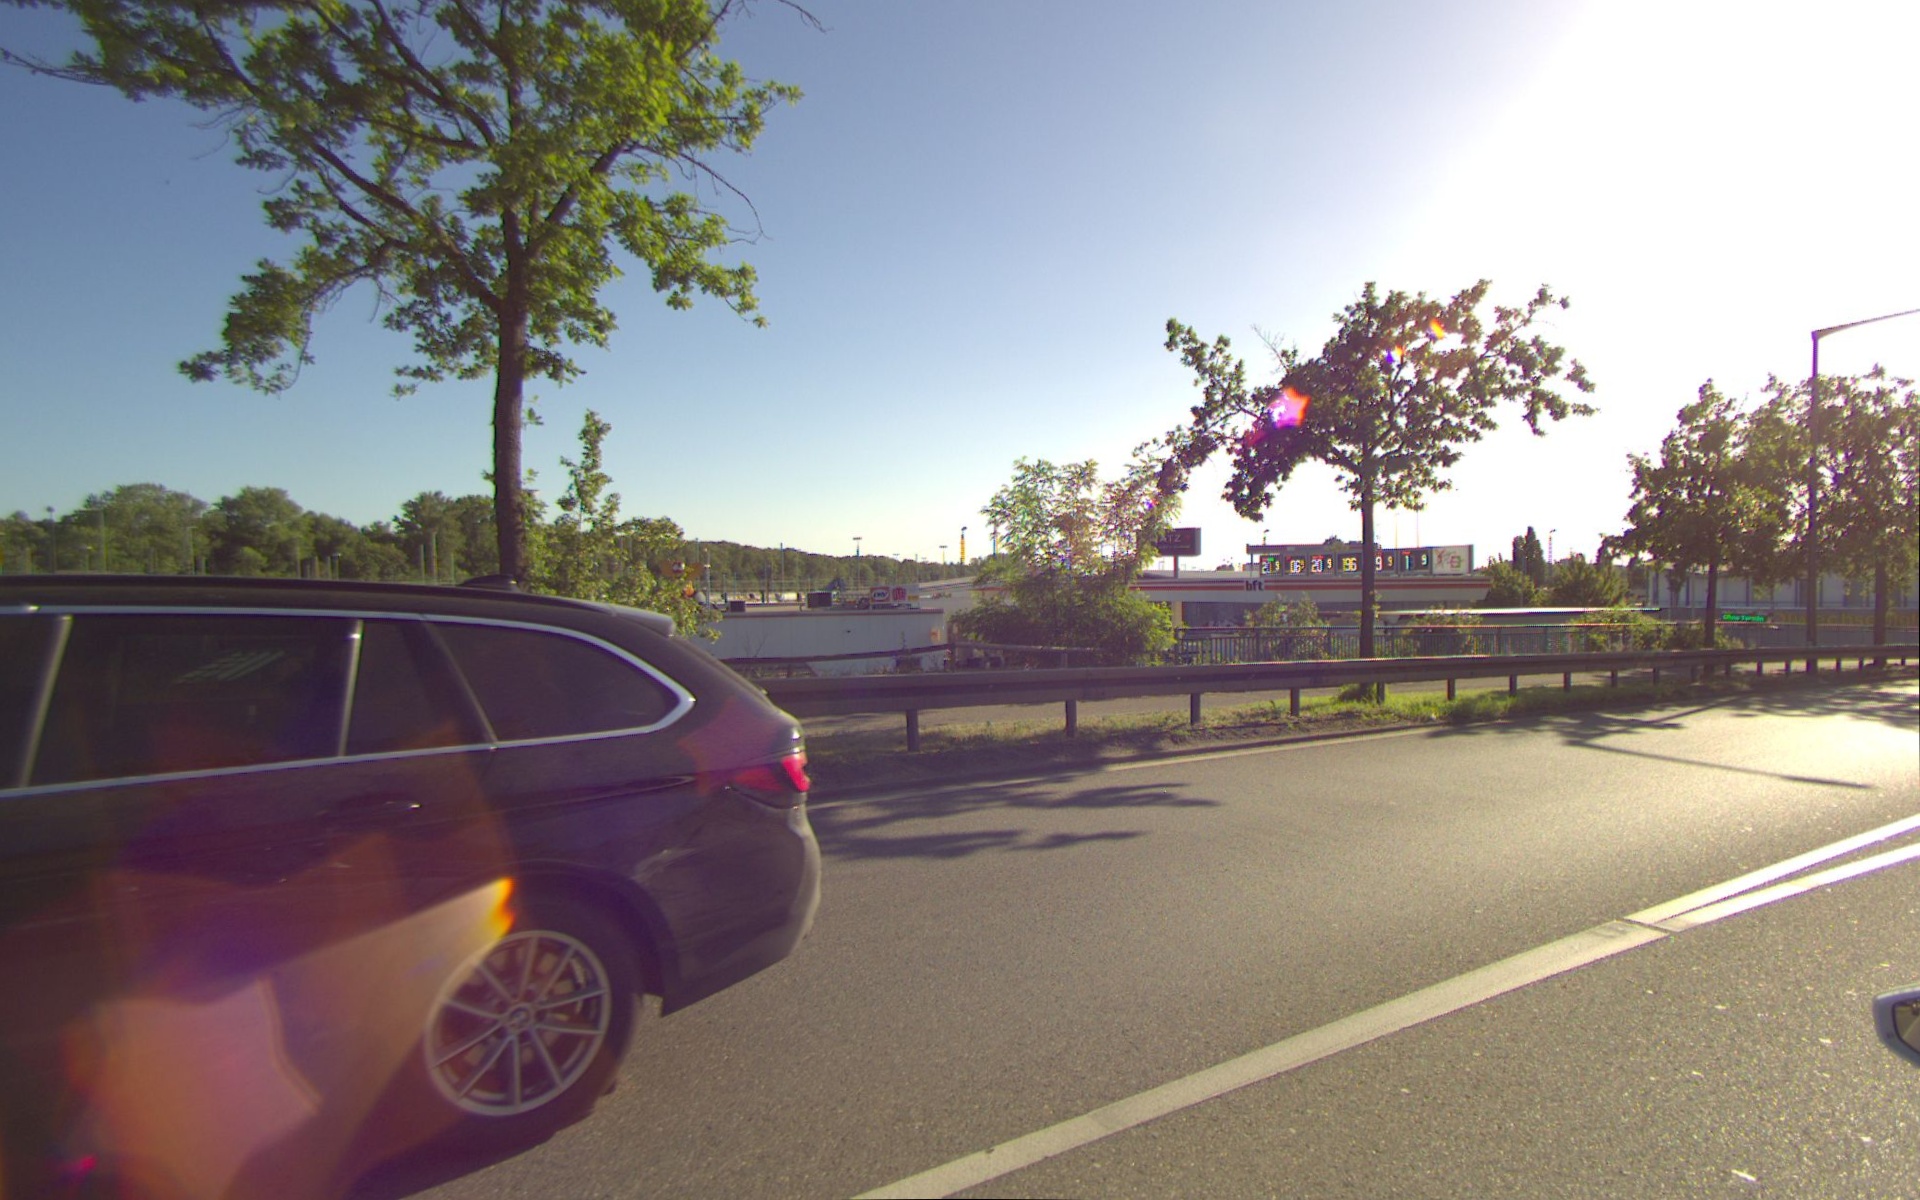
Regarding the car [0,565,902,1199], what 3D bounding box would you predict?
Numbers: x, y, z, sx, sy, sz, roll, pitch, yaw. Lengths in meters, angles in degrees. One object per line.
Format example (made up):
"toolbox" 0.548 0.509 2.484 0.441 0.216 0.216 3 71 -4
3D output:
"car" -2.464 0.697 2.709 4.325 1.516 1.798 2 -1 -35
